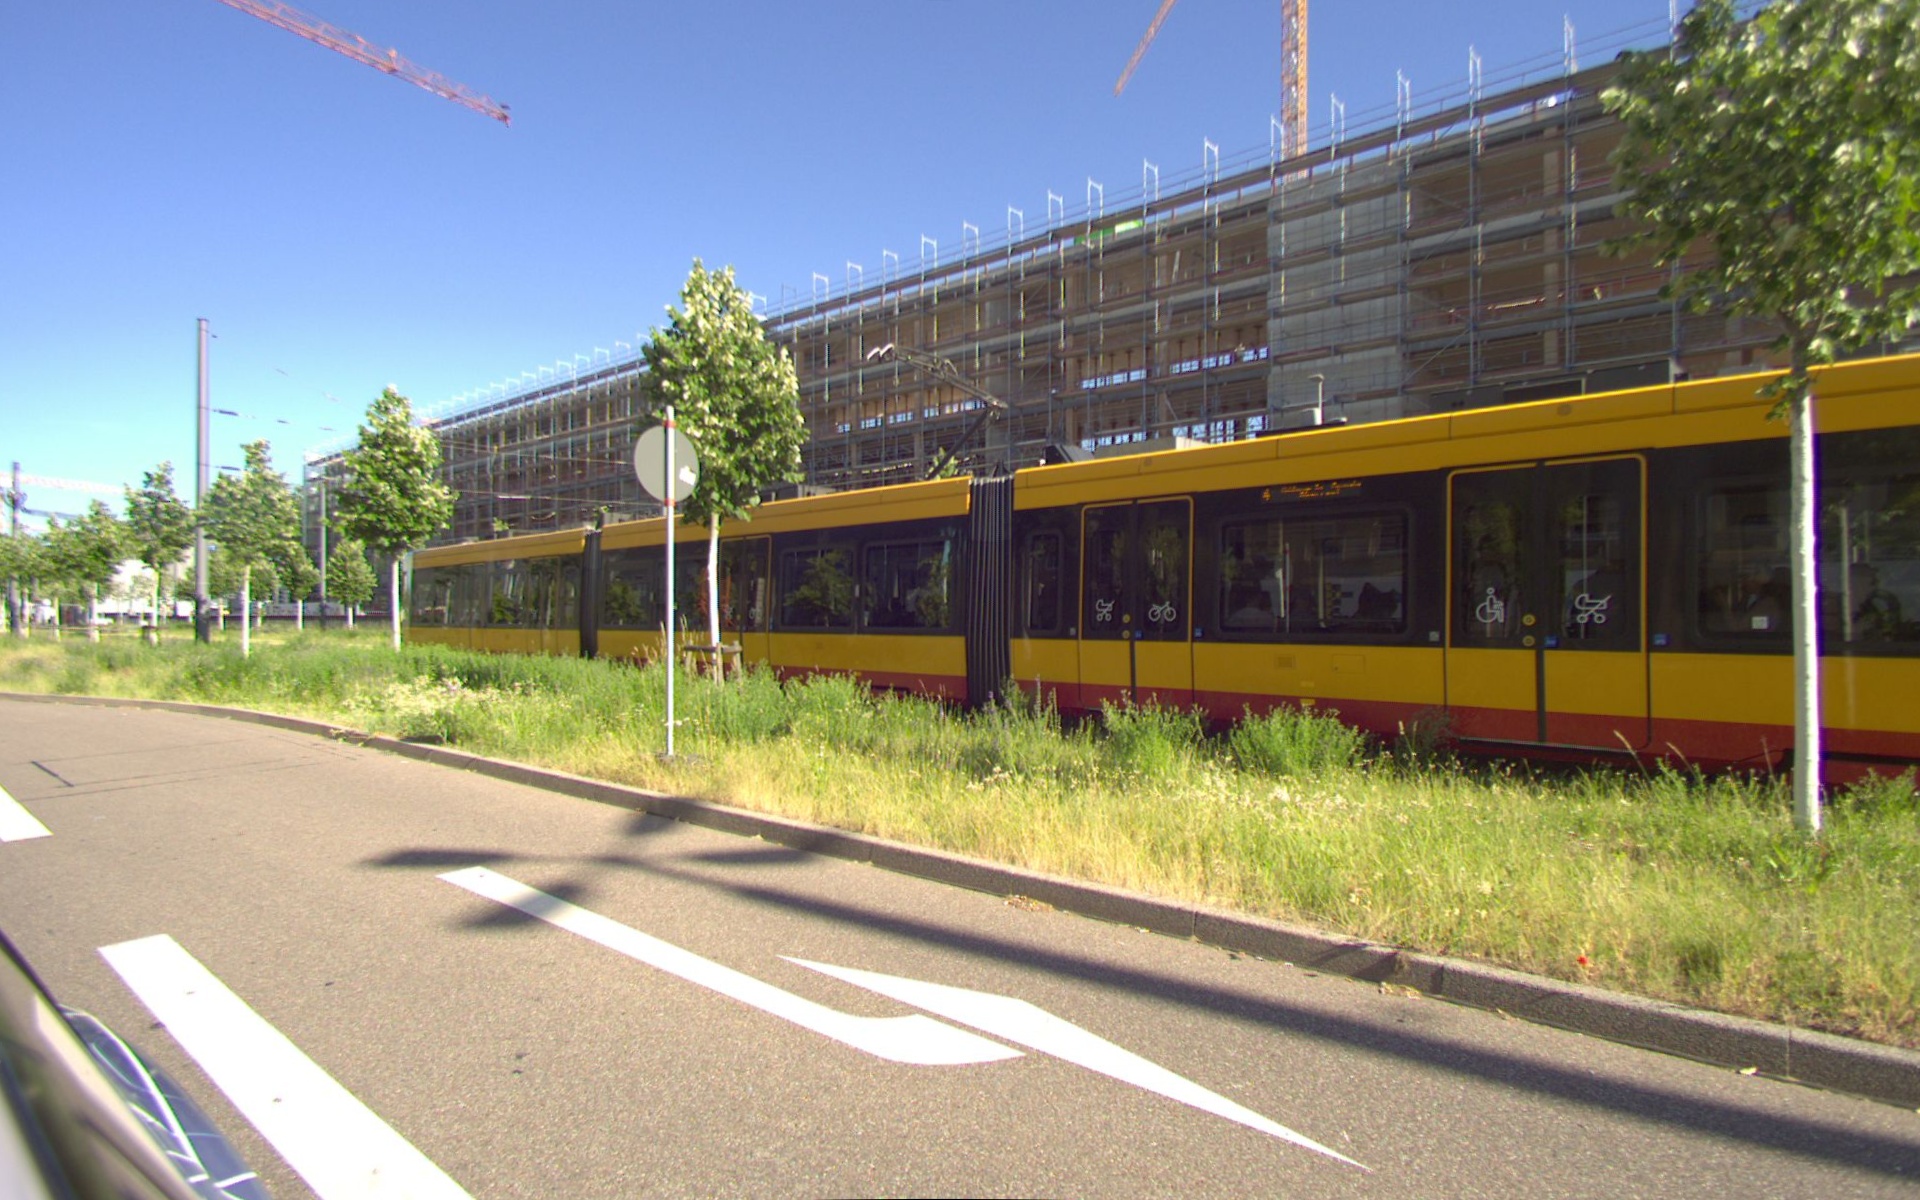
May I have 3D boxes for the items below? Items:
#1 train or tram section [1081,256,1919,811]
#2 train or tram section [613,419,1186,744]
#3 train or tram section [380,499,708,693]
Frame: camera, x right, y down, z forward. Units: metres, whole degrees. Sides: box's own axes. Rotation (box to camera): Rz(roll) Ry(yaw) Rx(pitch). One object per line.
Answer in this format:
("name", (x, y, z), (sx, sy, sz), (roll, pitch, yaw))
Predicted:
("train or tram section", (6.280, -0.438, 8.229), (11.686, 3.697, 1.971), (-1, 0, 44))
("train or tram section", (-1.881, -0.168, 16.170), (11.319, 3.697, 1.971), (-1, 0, 44))
("train or tram section", (-10.964, -0.020, 24.987), (14.156, 3.697, 1.971), (-1, 0, 44))
